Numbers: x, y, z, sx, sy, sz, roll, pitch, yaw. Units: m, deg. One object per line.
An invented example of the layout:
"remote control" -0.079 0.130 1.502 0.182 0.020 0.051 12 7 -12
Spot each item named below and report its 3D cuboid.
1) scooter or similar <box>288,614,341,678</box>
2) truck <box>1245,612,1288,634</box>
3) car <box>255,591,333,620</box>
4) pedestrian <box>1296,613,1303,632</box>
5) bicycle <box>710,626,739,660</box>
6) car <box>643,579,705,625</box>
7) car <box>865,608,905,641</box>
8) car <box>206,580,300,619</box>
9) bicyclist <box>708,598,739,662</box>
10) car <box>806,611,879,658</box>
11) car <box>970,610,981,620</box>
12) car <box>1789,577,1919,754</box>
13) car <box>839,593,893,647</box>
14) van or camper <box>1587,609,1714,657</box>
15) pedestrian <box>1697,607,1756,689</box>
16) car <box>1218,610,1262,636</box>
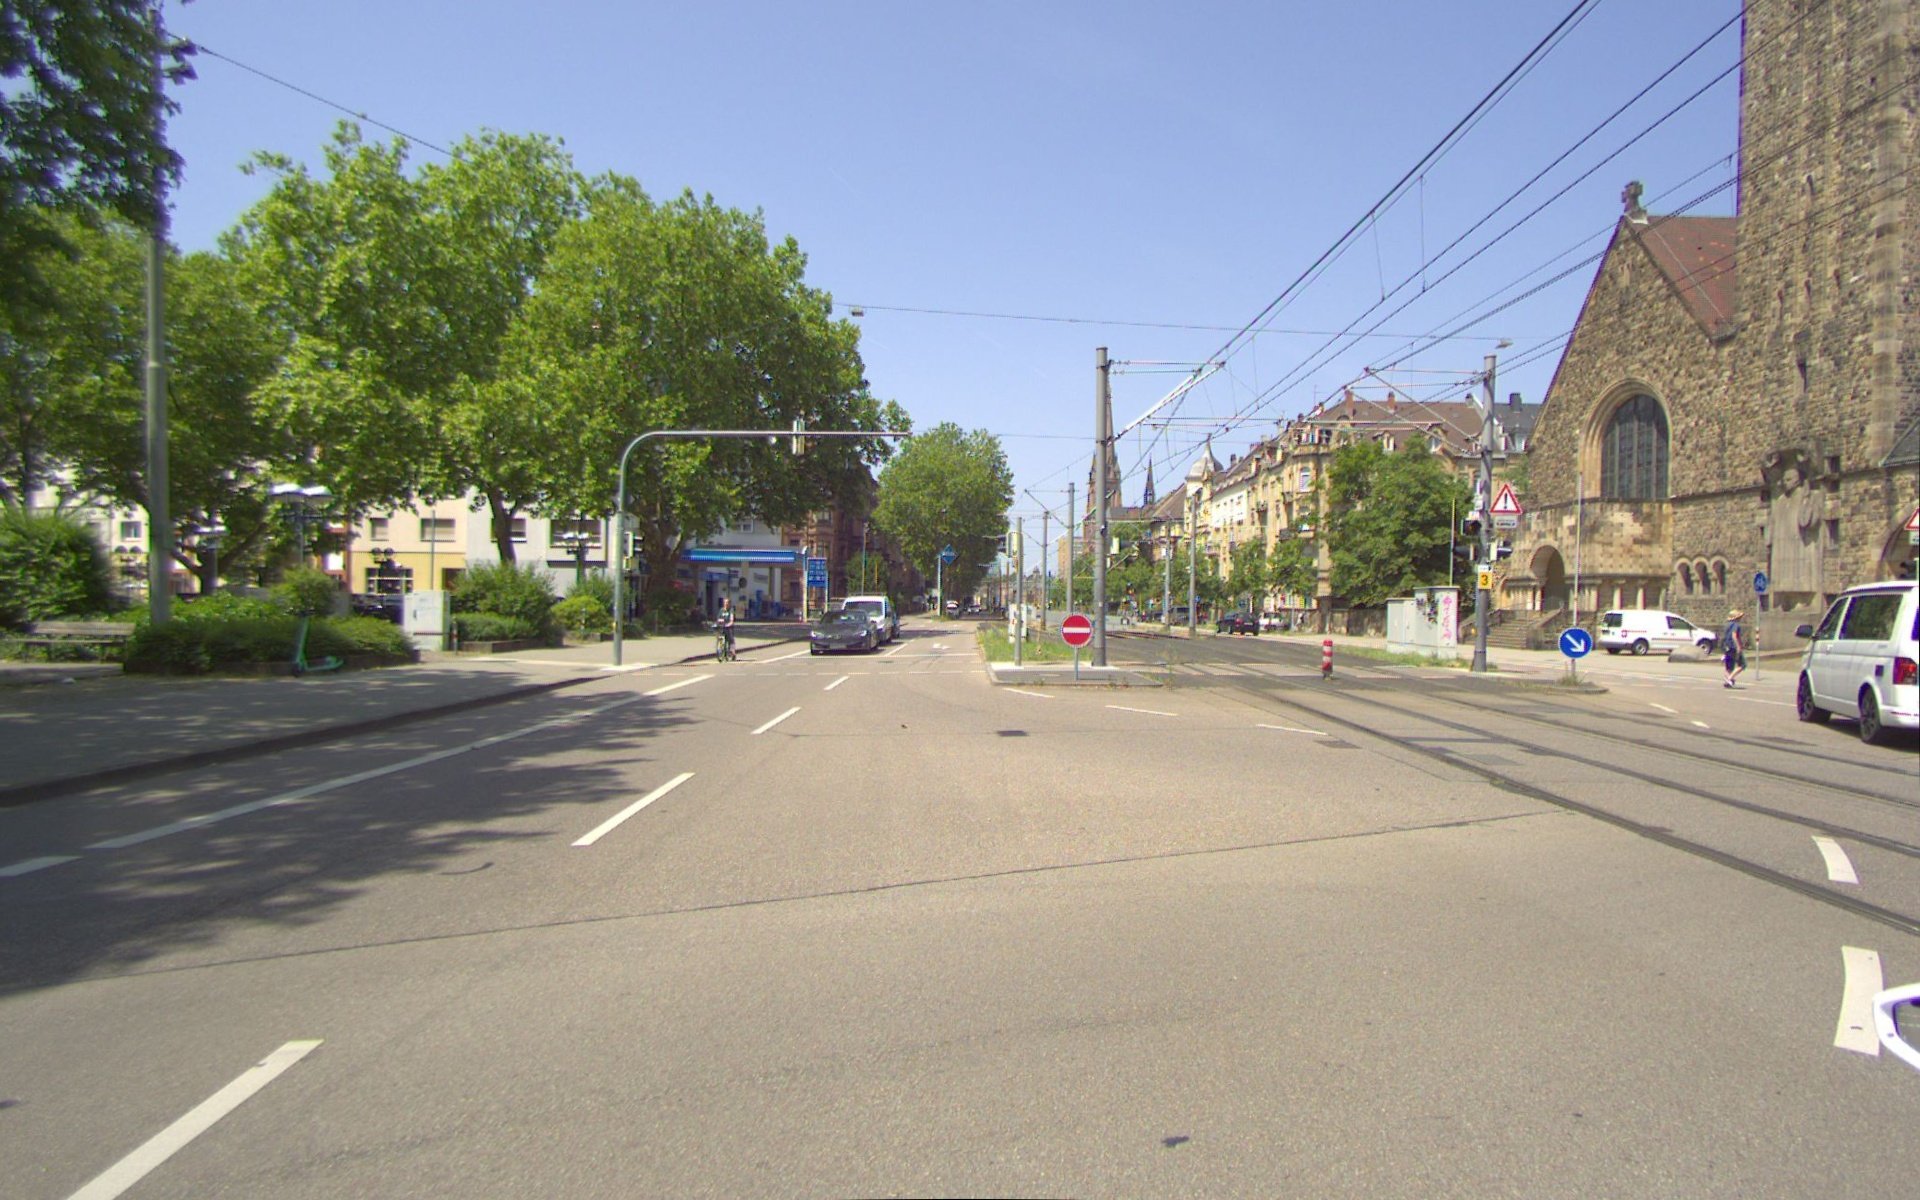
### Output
"scooter or similar" -11.760 0.821 18.324 0.252 1.135 0.861 2 0 13
"truck" 22.482 1.673 73.855 1.760 1.546 4.464 1 0 -1
"car" -36.202 0.299 54.695 1.886 1.507 3.847 1 0 -4
"pedestrian" 24.240 1.600 71.726 0.388 1.369 0.408 1 0 -2
"bicycle" -6.541 1.183 27.920 0.488 0.894 1.482 2 0 -2
"car" -15.739 0.095 55.498 1.816 2.425 4.983 1 0 2
"car" -3.486 1.127 47.099 1.570 1.439 3.782 -1 0 0
"car" -38.921 -0.017 55.498 1.886 2.017 5.104 1 0 -4
"bicyclist" -6.559 0.823 27.872 0.628 1.708 0.868 2 0 -3
"car" -3.826 1.097 33.427 1.915 1.377 4.628 1 0 -1
"car" 2.580 2.492 170.721 1.816 1.647 4.603 0 0 1
"car" 12.276 0.762 12.772 1.888 1.970 4.256 1 0 29
"car" -3.704 0.747 40.156 1.748 2.017 4.804 1 0 -1
"van or camper" 28.813 1.346 42.008 3.922 1.831 1.999 2 0 -2
"pedestrian" 17.740 1.094 23.269 0.729 1.847 0.834 2 0 8
"car" 17.527 1.413 63.002 1.721 1.559 3.759 2 0 0
